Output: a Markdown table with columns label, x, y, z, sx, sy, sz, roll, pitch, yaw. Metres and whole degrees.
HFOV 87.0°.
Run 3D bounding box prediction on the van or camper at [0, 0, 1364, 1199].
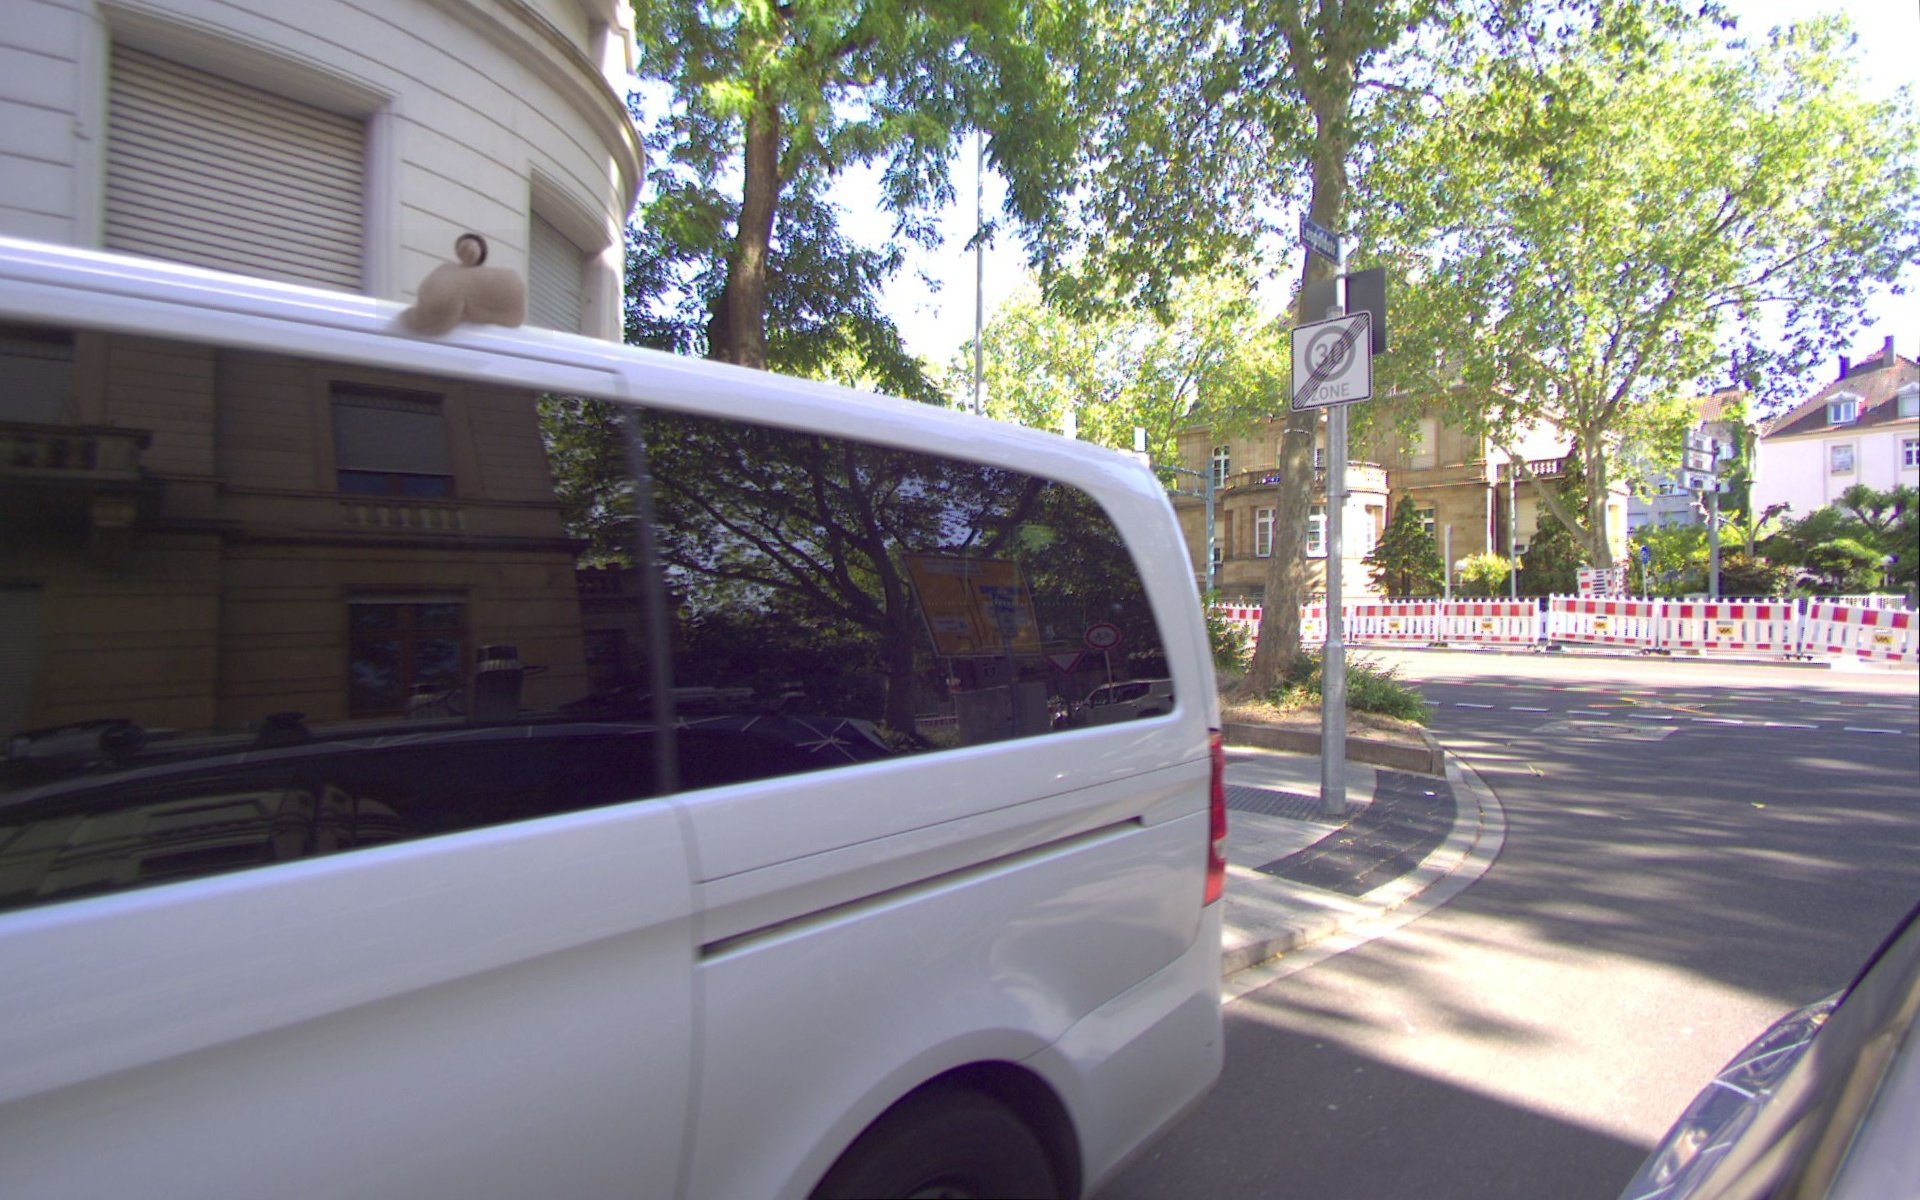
| label | x | y | z | sx | sy | sz | roll | pitch | yaw |
| --- | --- | --- | --- | --- | --- | --- | --- | --- | --- |
| van or camper | -1.590 | 0.449 | 1.311 | 4.943 | 2.039 | 1.897 | 1 | -1 | -41 |

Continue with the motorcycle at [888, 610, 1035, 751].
| label | x | y | z | sx | sy | sz | roll | pitch | yaw |
| --- | --- | --- | --- | --- | --- | --- | --- | --- | --- |
| motorcycle | -0.021 | 0.698 | 9.496 | 0.587 | 1.201 | 1.555 | 0 | 0 | -35 |

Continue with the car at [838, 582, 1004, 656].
| label | x | y | z | sx | sy | sz | roll | pitch | yaw |
| --- | --- | --- | --- | --- | --- | --- | --- | --- | --- |
| car | -1.105 | 0.442 | 26.241 | 1.838 | 1.747 | 4.497 | -1 | 1 | -42 |

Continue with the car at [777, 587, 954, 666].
| label | x | y | z | sx | sy | sz | roll | pitch | yaw |
| --- | --- | --- | --- | --- | --- | --- | --- | --- | --- |
| car | -2.089 | 0.534 | 21.443 | 1.597 | 1.505 | 4.089 | 3 | -2 | -42 |
